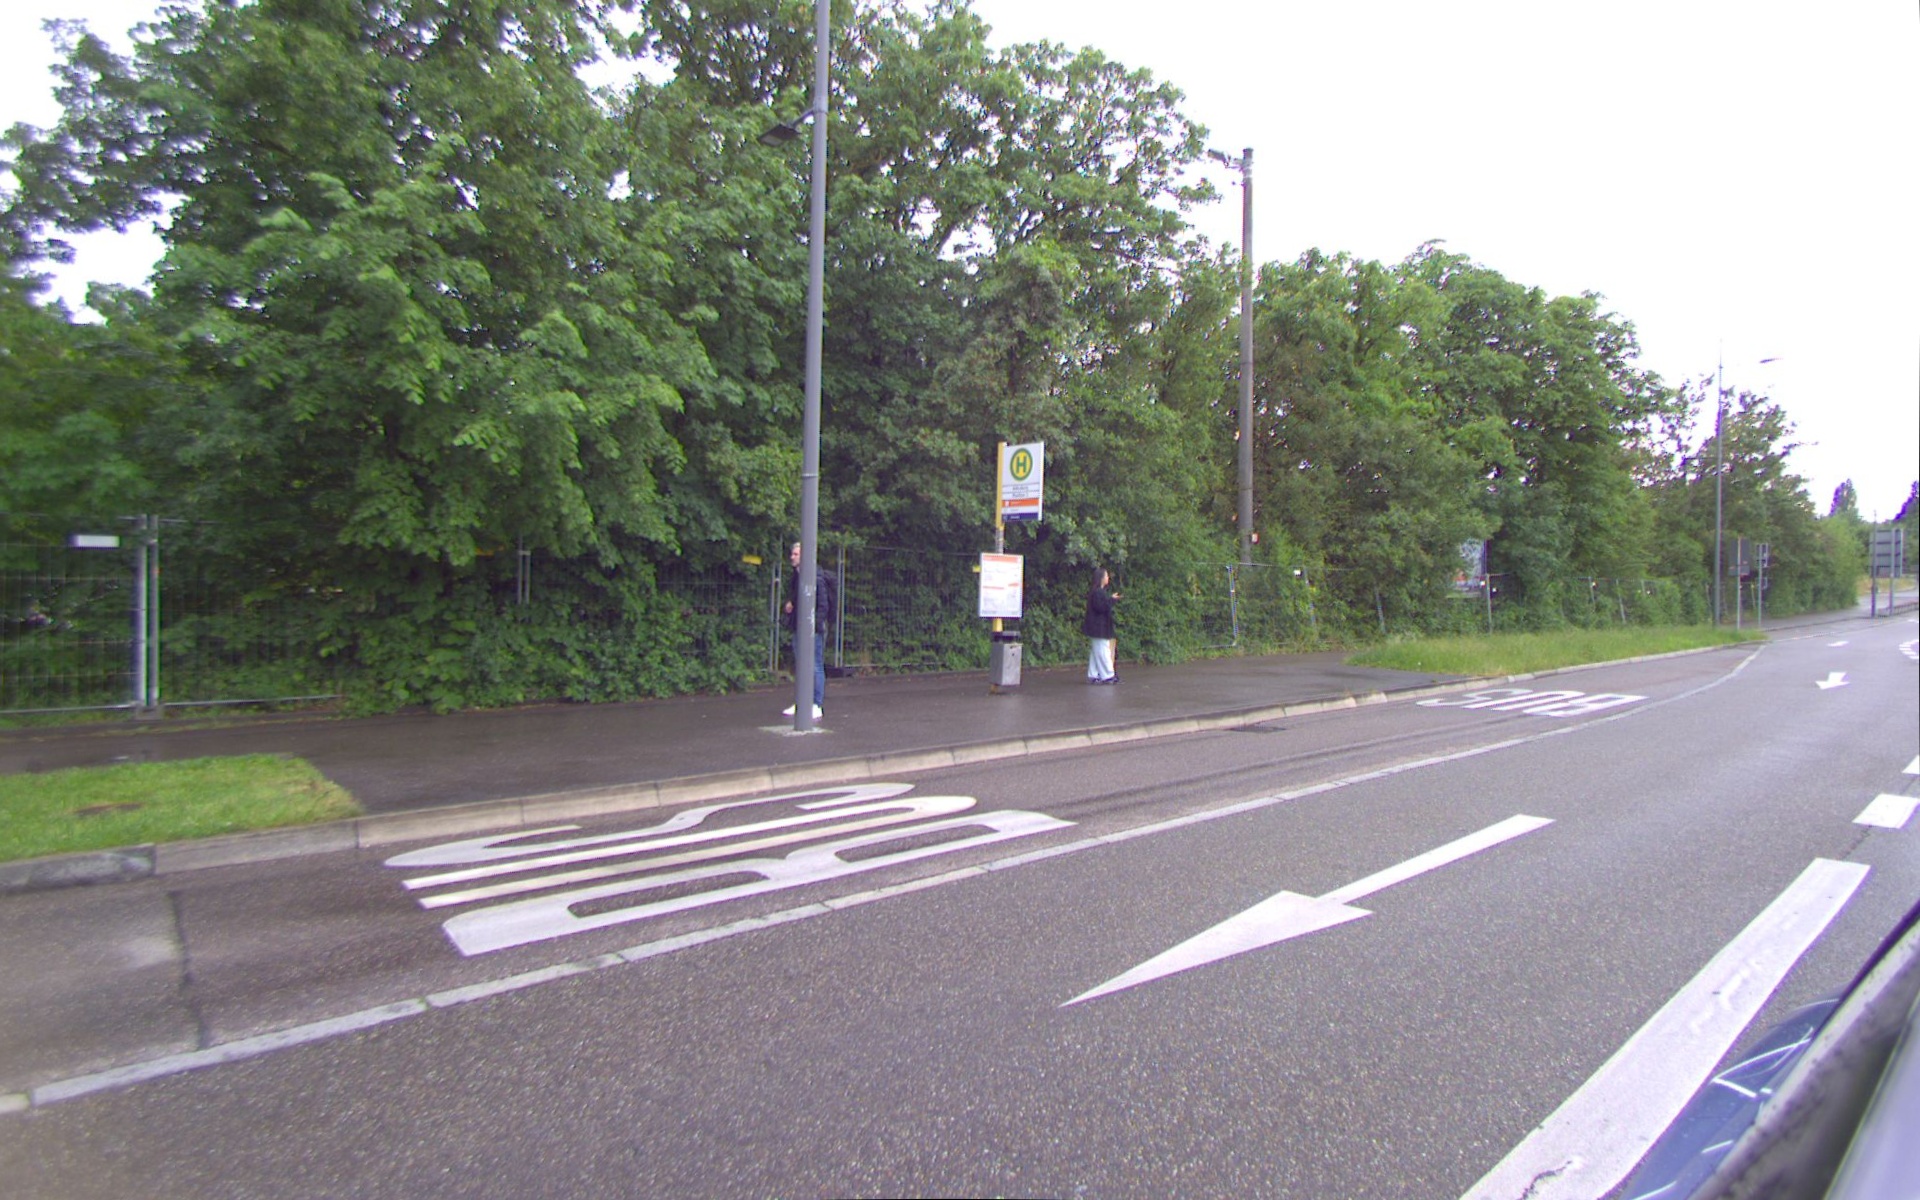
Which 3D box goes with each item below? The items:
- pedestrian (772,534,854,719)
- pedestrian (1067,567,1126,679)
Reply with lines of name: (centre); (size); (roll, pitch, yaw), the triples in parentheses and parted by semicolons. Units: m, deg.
pedestrian: (-1.641, 0.272, 11.280); (0.587, 1.973, 0.742); (0, 1, -40)
pedestrian: (2.054, 0.326, 15.227); (0.650, 1.648, 0.588); (0, 1, -40)
